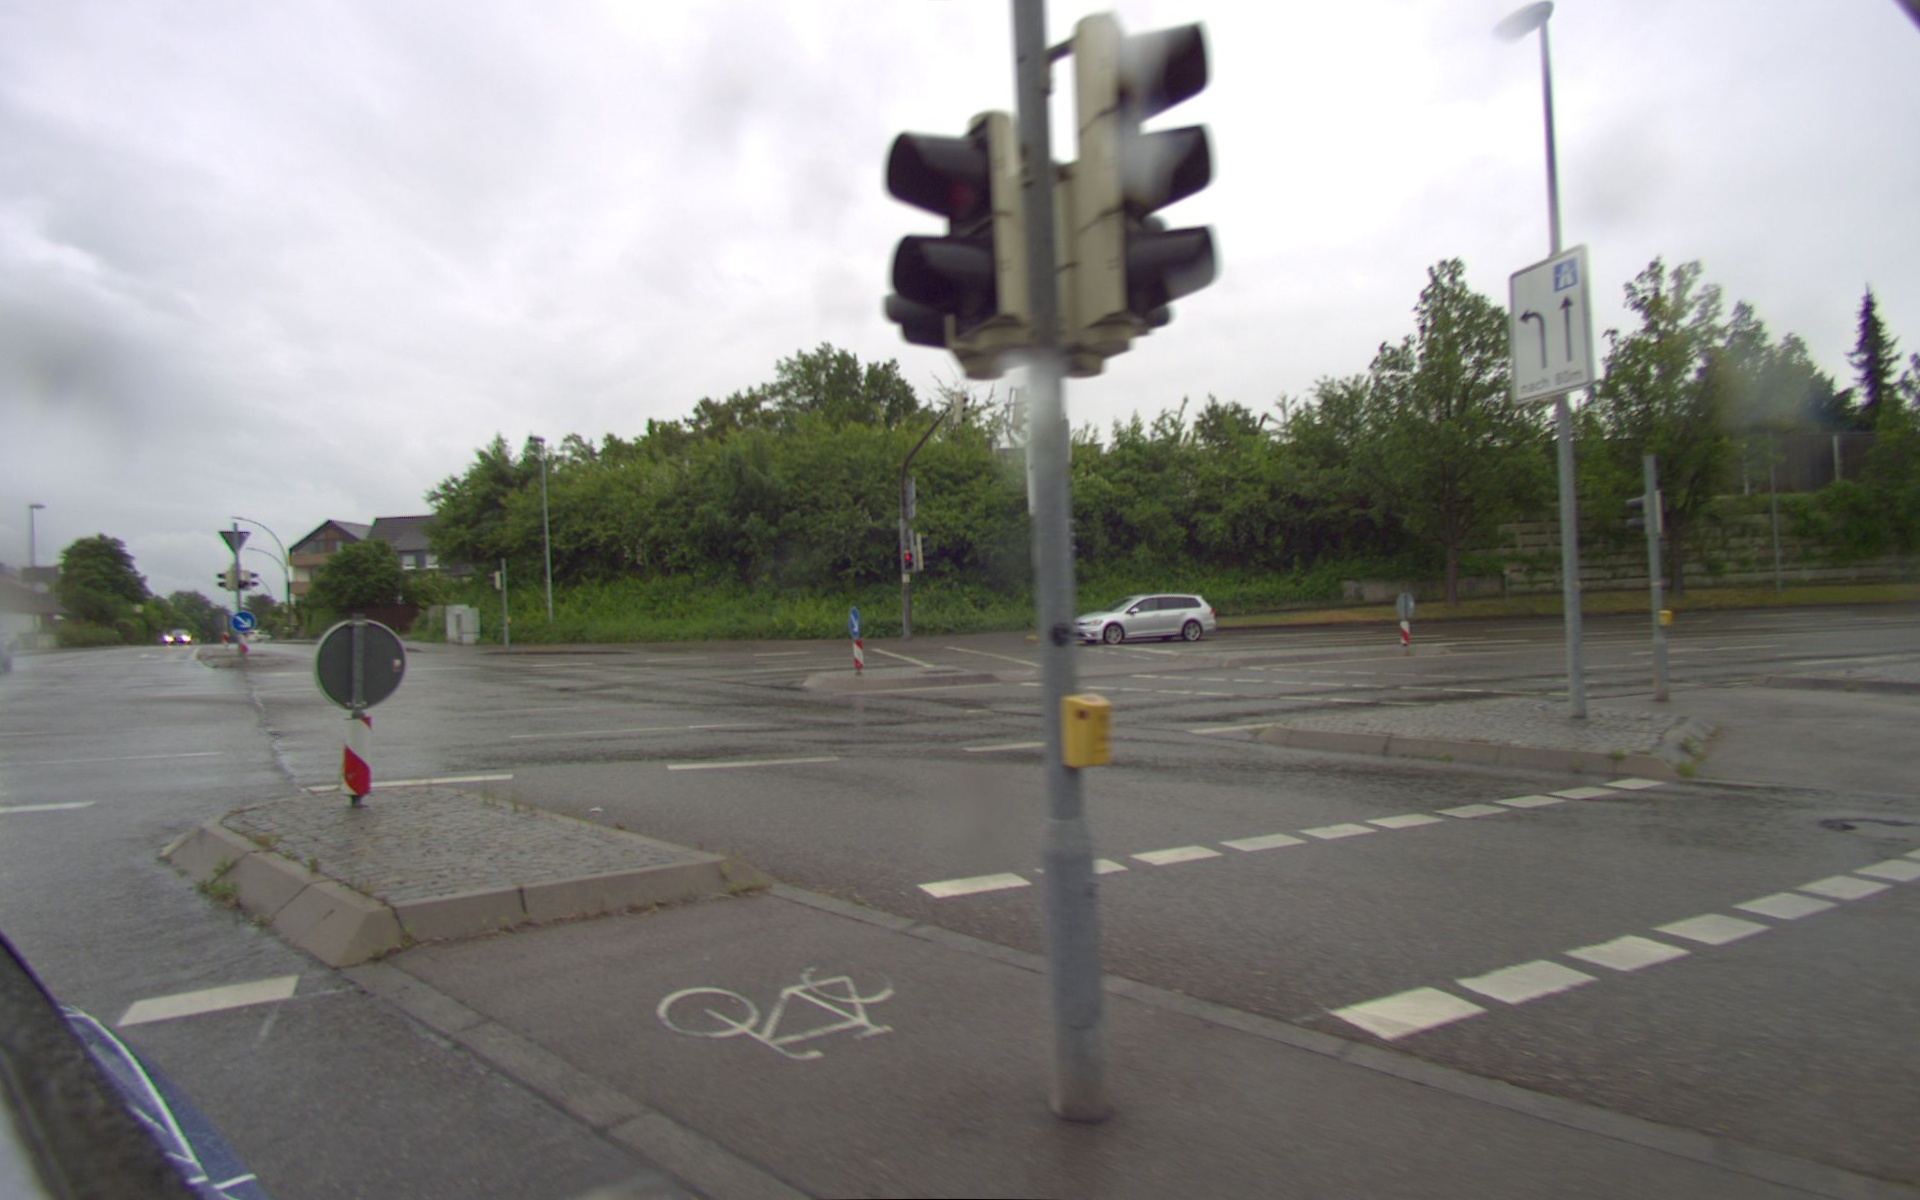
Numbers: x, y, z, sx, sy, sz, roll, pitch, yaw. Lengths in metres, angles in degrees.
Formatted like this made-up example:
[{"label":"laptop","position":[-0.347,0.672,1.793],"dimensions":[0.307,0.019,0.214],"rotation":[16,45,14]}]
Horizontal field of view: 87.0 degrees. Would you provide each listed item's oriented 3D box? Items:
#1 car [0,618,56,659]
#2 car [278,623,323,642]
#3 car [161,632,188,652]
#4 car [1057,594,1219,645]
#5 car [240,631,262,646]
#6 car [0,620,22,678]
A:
[{"label":"car","position":[-58.626,2.373,62.919],"dimensions":[1.628,2.368,4.007],"rotation":[-2,0,-7]},{"label":"car","position":[-61.782,3.041,94.846],"dimensions":[1.643,1.558,3.999],"rotation":[-1,0,0]},{"label":"car","position":[-68.511,3.650,88.240],"dimensions":[1.731,1.568,3.927],"rotation":[-2,0,-39]},{"label":"car","position":[5.352,0.548,30.538],"dimensions":[4.455,1.373,1.768],"rotation":[-1,0,-16]},{"label":"car","position":[-75.004,4.034,107.039],"dimensions":[1.600,1.516,3.829],"rotation":[0,-1,-39]},{"label":"car","position":[-26.611,1.345,26.994],"dimensions":[1.869,1.494,4.009],"rotation":[-1,-1,-36]}]
